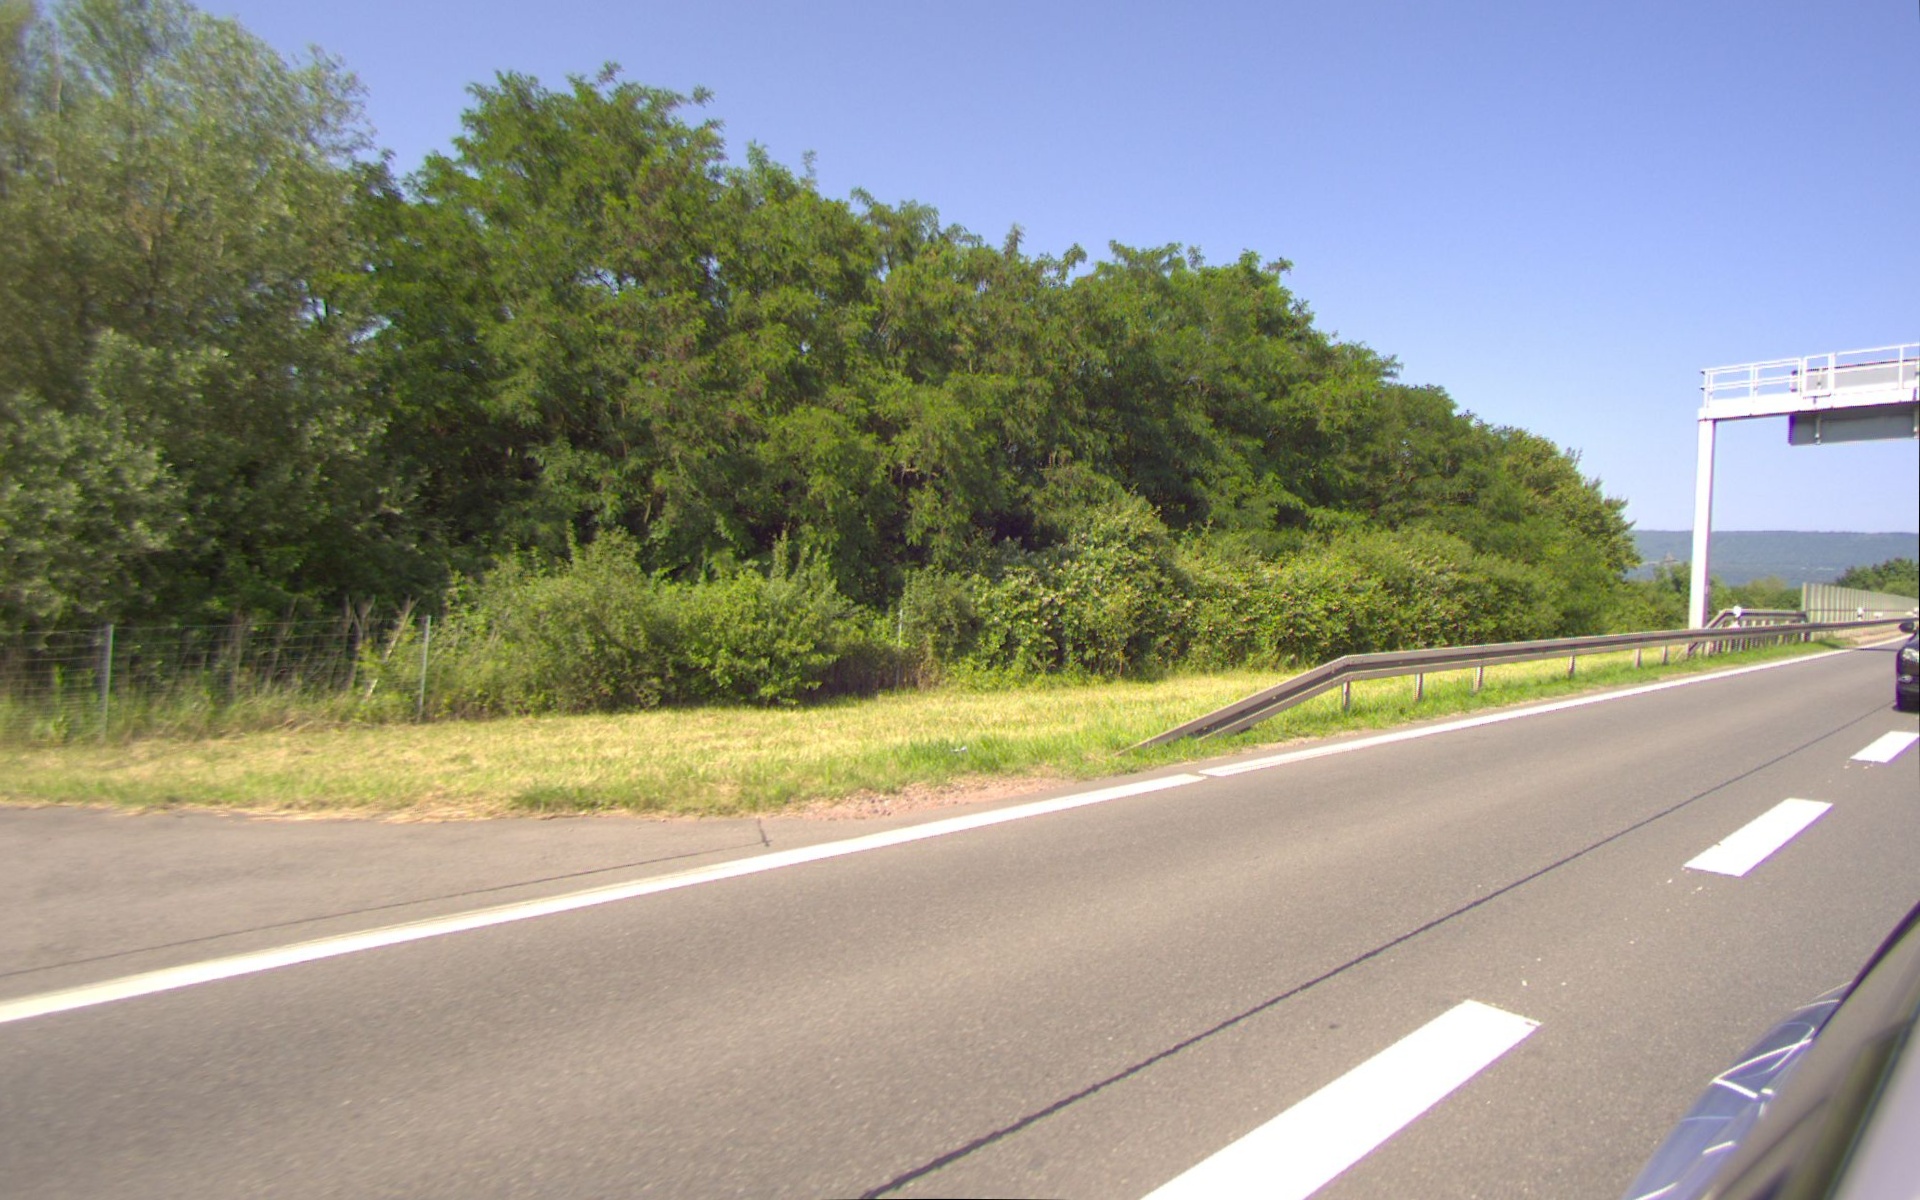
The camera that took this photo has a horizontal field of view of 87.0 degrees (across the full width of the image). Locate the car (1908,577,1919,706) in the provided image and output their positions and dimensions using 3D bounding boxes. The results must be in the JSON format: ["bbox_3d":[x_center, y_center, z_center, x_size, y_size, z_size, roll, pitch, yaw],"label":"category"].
[{"bbox_3d":[14.530,0.574,13.851,4.073,1.667,1.789,1,0,-40],"label":"car"}]
